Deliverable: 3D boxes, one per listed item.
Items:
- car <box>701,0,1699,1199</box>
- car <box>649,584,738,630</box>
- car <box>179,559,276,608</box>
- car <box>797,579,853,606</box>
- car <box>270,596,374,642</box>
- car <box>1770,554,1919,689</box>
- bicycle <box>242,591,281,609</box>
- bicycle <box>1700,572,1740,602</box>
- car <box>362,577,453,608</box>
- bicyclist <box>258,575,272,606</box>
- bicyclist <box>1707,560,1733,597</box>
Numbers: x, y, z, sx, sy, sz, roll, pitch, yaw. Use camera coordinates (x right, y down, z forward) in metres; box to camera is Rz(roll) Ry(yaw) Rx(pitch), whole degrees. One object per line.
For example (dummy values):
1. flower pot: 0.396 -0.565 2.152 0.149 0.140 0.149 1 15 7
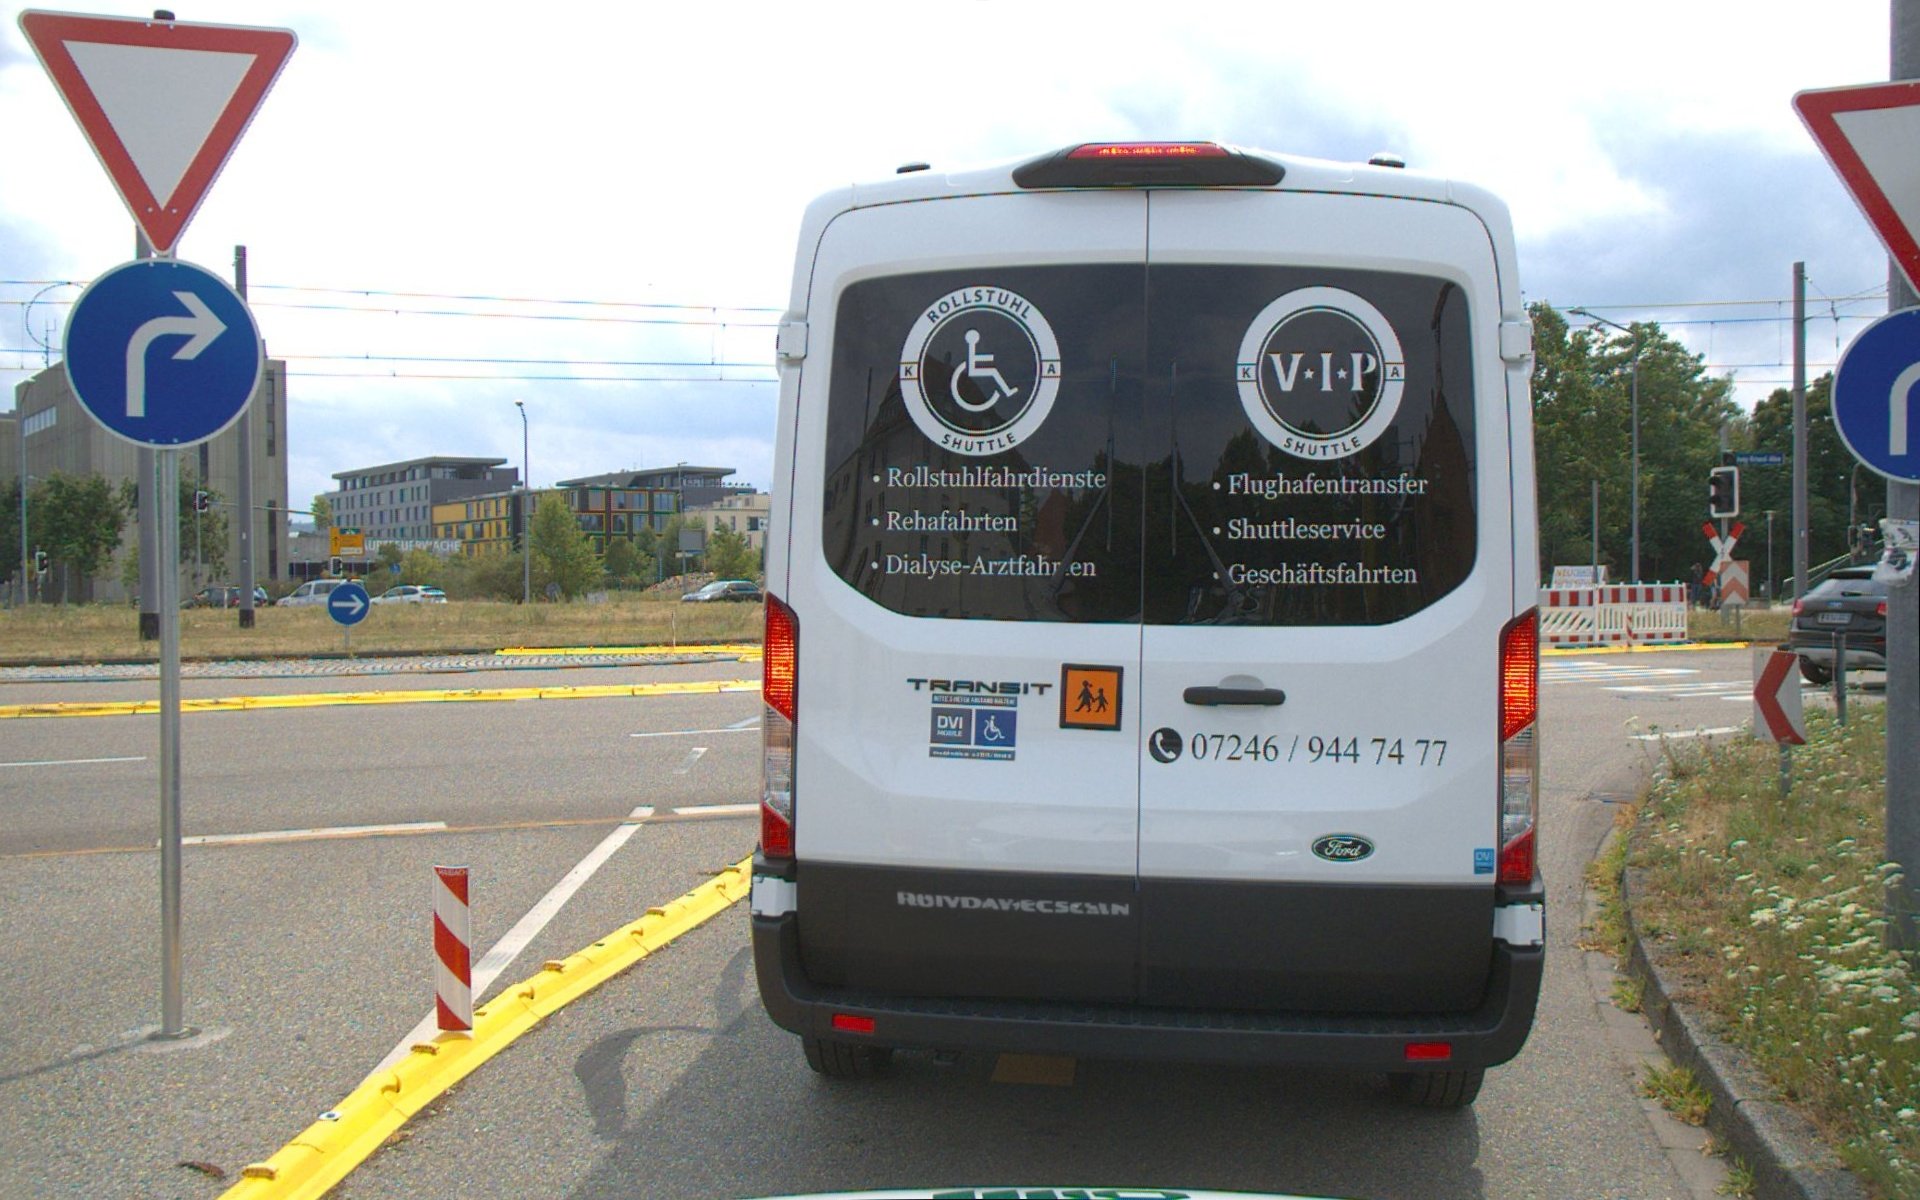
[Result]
1. car: 0.782 -0.001 6.317 2.081 2.744 5.636 0 1 6
2. car: -12.192 0.328 75.867 1.956 2.049 3.992 0 -1 30
3. car: -32.020 -0.693 72.279 3.913 2.049 1.996 0 -1 30
4. car: -7.485 -0.418 92.172 1.788 1.489 4.003 0 0 16
5. car: -29.673 0.877 76.972 4.257 2.049 2.000 0 -1 20
6. car: 12.283 0.206 20.633 4.078 1.545 1.728 -1 1 -24
7. bicycle: -35.747 0.017 84.696 1.803 0.892 0.527 -1 1 -22
8. bicycle: 27.372 -0.478 59.554 0.638 1.024 1.756 0 1 0
9. car: -26.746 -0.364 80.134 3.904 1.489 1.833 0 -1 21
10. bicyclist: -35.605 -0.491 84.750 0.639 1.585 0.527 -1 1 -21
11. bicyclist: 27.365 -0.771 59.554 0.625 1.340 0.675 0 1 -1
